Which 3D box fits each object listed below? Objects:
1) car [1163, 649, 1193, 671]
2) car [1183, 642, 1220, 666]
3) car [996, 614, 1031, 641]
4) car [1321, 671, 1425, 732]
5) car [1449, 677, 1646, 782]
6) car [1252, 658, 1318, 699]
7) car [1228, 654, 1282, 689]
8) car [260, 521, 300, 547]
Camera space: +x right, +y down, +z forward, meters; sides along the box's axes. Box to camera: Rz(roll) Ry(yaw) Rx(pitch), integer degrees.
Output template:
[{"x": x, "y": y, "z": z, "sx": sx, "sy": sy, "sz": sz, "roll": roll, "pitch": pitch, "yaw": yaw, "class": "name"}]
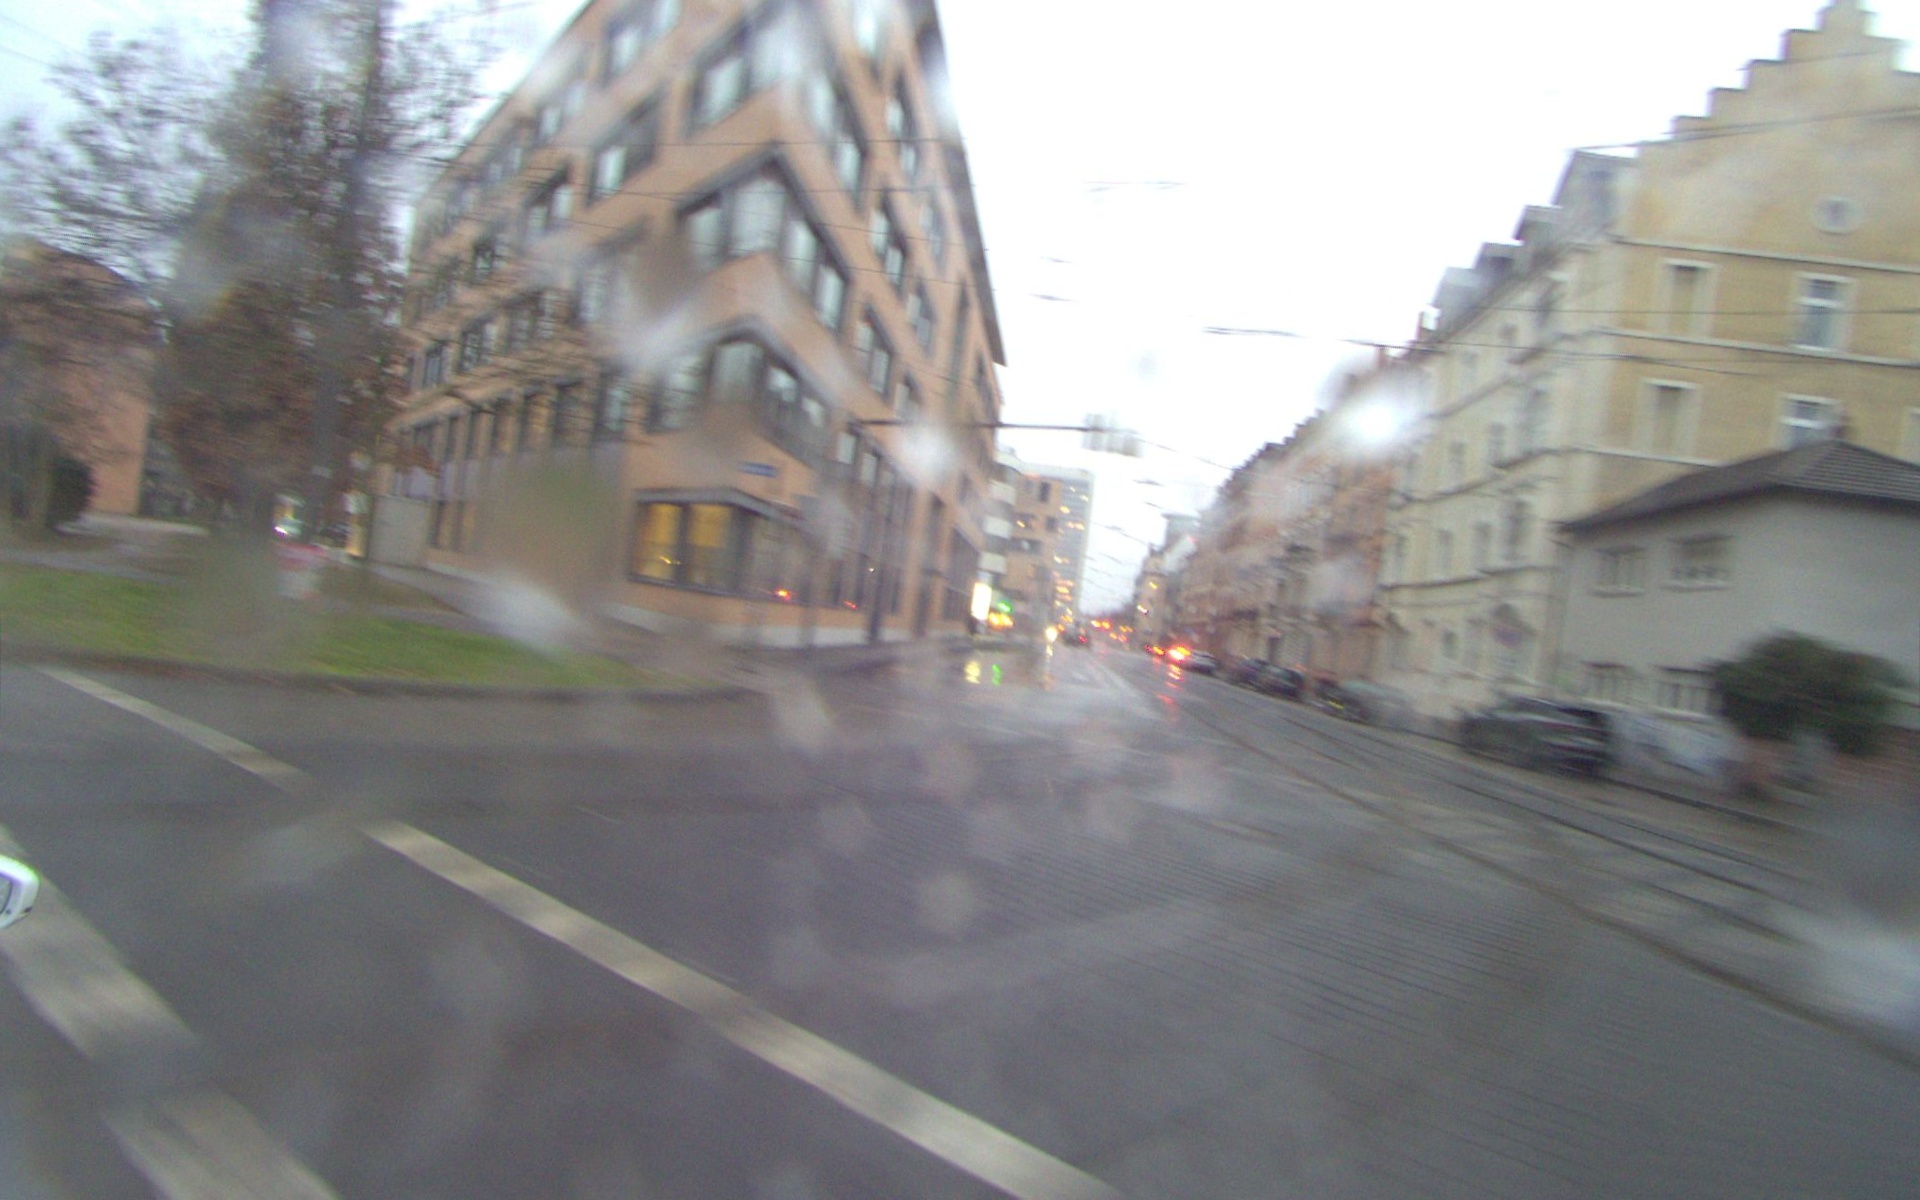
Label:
[{"x": 19.208, "y": 5.282, "z": 88.727, "sx": 1.962, "sy": 1.458, "sz": 4.514, "roll": 8, "pitch": 0, "yaw": 6, "class": "car"}, {"x": 18.154, "y": 4.042, "z": 75.906, "sx": 1.962, "sy": 1.458, "sz": 4.514, "roll": 8, "pitch": 0, "yaw": 6, "class": "car"}, {"x": 3.600, "y": 1.821, "z": 67.576, "sx": 1.962, "sy": 1.458, "sz": 3.927, "roll": 8, "pitch": 0, "yaw": 6, "class": "car"}, {"x": 14.062, "y": 3.423, "z": 34.565, "sx": 1.962, "sy": 1.458, "sz": 4.514, "roll": 8, "pitch": 0, "yaw": 6, "class": "car"}, {"x": 13.684, "y": 2.947, "z": 23.815, "sx": 1.963, "sy": 1.690, "sz": 4.513, "roll": 8, "pitch": 0, "yaw": 2, "class": "car"}, {"x": 15.627, "y": 3.736, "z": 48.607, "sx": 1.962, "sy": 1.458, "sz": 4.514, "roll": 8, "pitch": 0, "yaw": 6, "class": "car"}, {"x": 16.267, "y": 3.929, "z": 55.690, "sx": 1.962, "sy": 1.458, "sz": 4.514, "roll": 8, "pitch": 0, "yaw": 6, "class": "car"}, {"x": -41.312, "y": -4.039, "z": 61.114, "sx": 1.660, "sy": 1.195, "sz": 3.667, "roll": 8, "pitch": 0, "yaw": -39, "class": "car"}]
